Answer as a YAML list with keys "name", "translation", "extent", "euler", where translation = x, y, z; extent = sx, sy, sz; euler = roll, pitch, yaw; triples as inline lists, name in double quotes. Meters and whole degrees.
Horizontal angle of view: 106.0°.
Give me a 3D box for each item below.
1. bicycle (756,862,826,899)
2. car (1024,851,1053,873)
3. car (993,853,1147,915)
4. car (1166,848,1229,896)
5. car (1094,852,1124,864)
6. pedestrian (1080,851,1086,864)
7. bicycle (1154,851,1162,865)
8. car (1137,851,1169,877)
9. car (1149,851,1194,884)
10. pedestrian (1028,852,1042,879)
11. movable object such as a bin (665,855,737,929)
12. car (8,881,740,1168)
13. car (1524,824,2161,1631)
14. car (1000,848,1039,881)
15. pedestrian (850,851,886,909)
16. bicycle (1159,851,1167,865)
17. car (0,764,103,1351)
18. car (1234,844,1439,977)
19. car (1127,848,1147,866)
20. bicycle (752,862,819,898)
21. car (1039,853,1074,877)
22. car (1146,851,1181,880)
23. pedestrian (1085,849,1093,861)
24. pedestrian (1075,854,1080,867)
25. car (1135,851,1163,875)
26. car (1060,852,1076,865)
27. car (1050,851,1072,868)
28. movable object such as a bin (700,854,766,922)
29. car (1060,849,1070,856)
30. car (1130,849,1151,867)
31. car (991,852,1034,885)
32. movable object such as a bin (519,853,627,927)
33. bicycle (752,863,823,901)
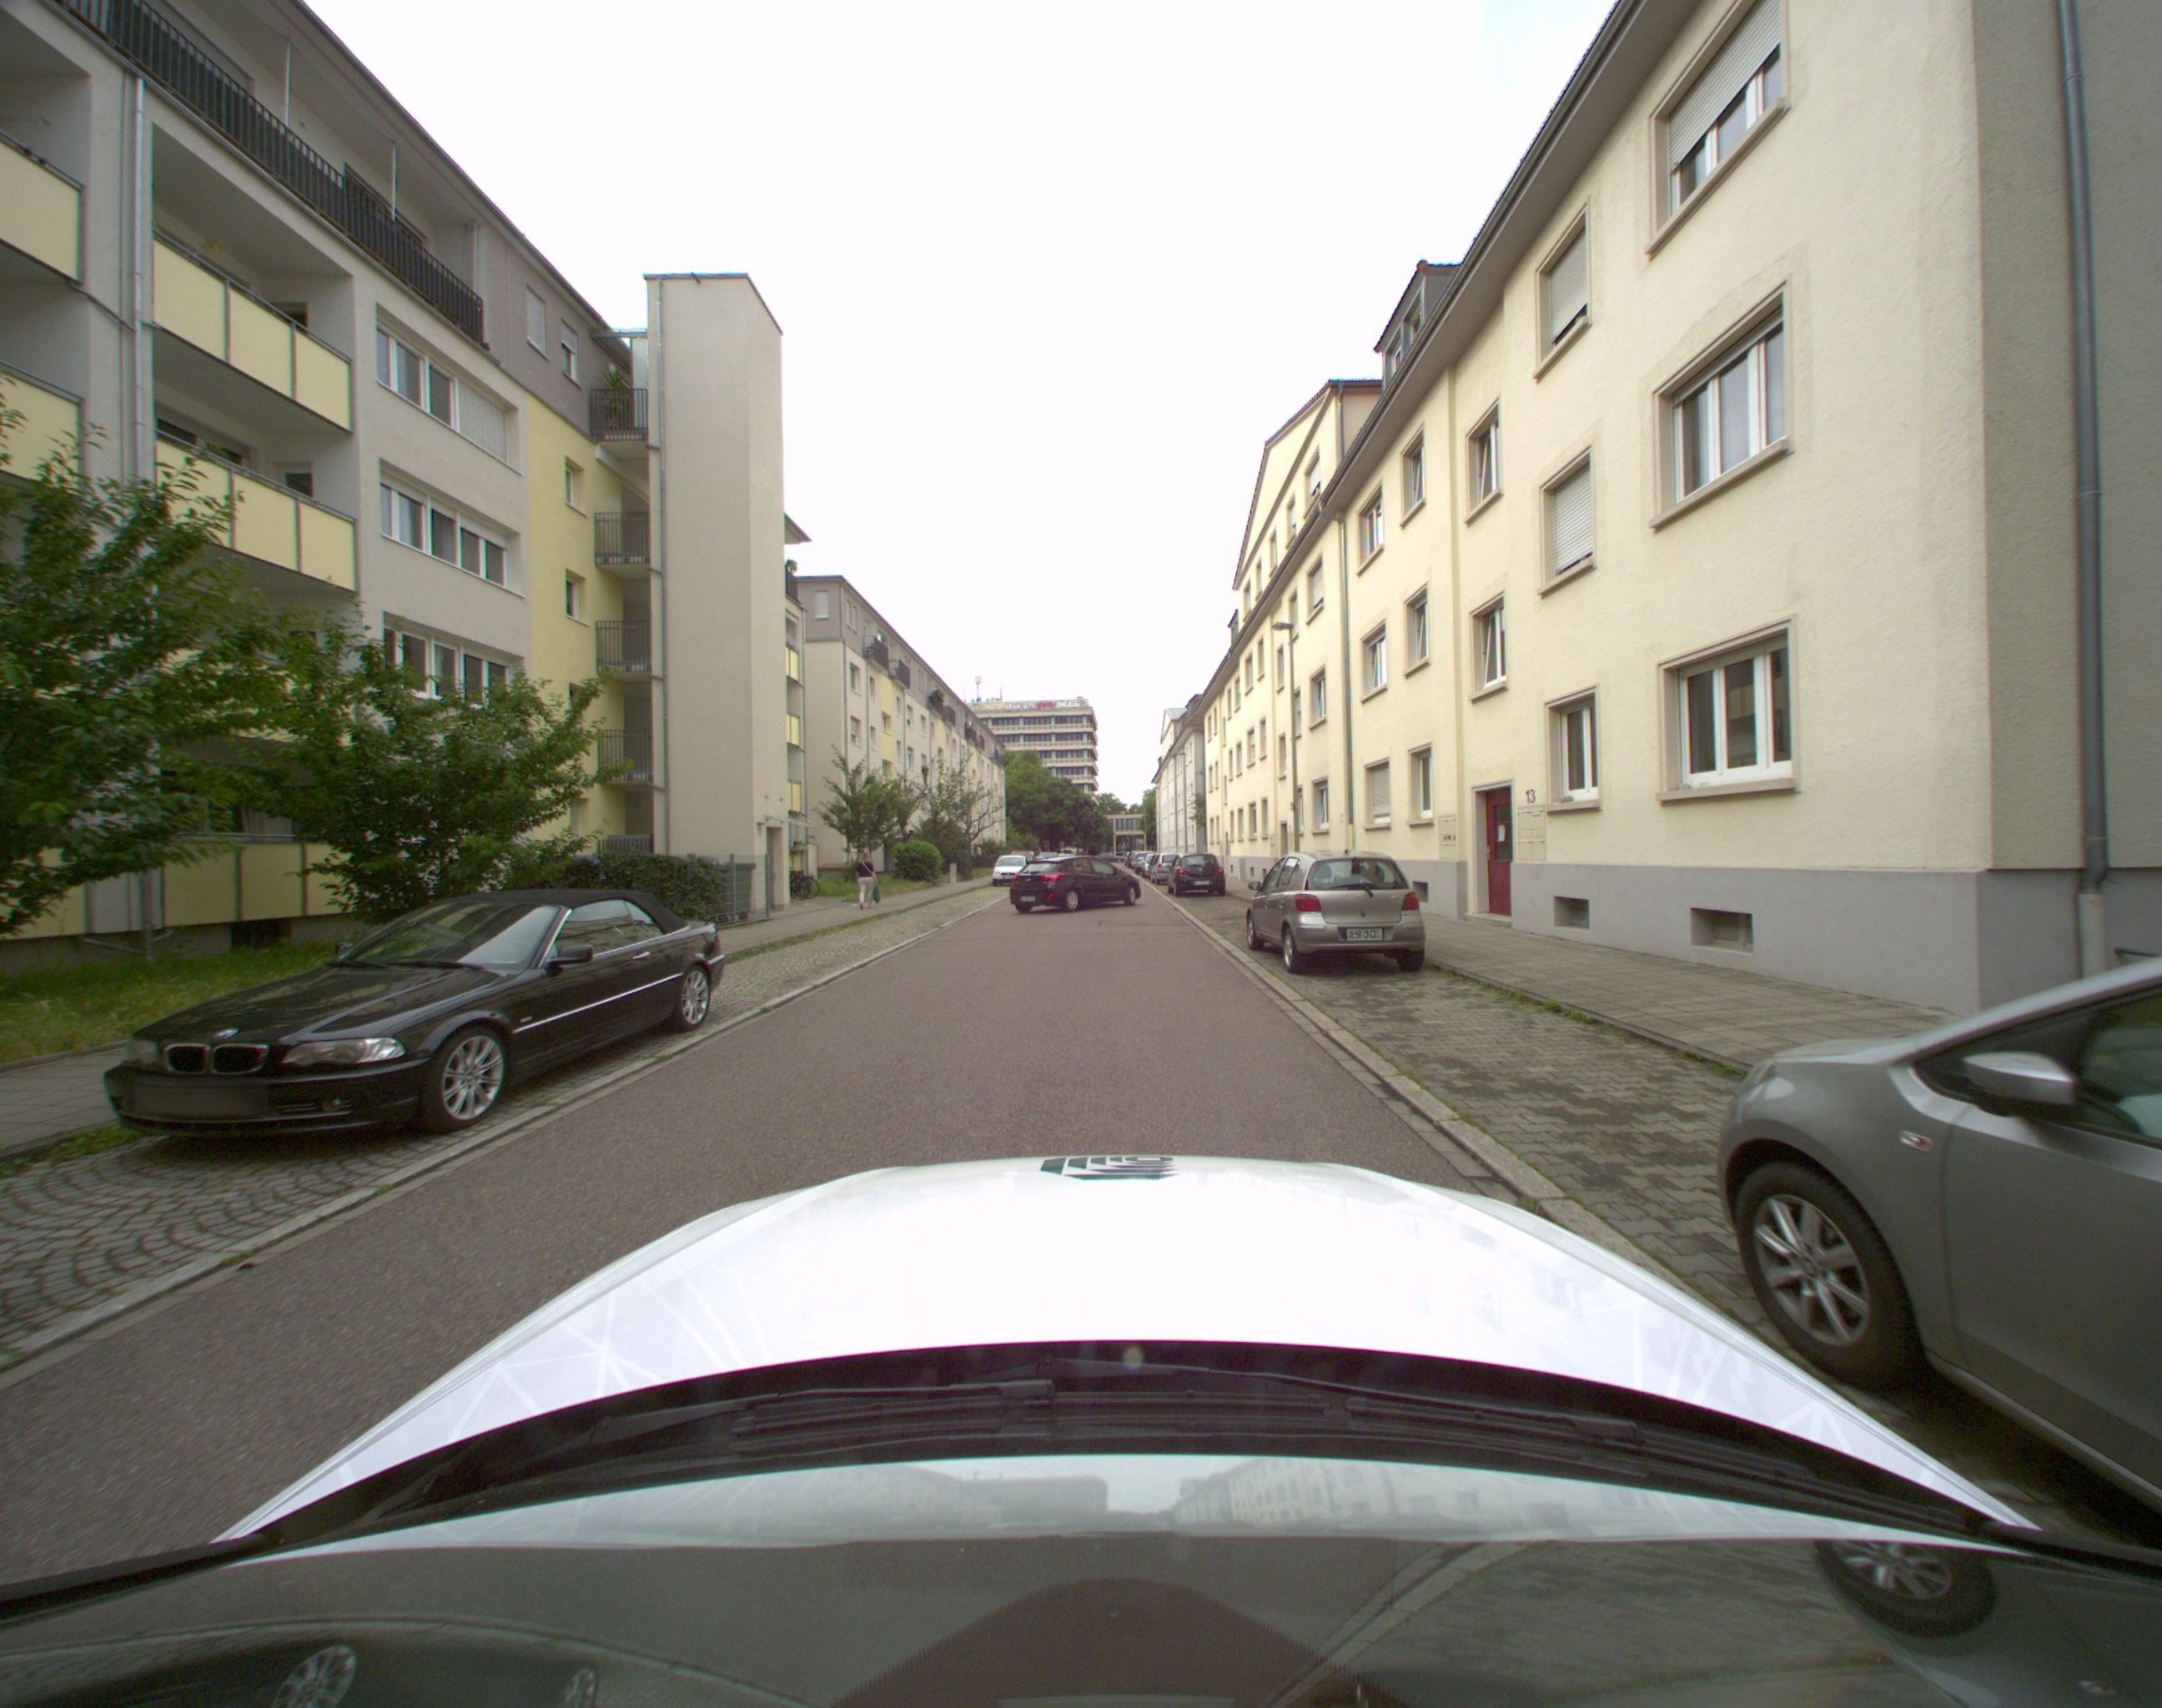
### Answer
- name: "bicycle"
  translation: [-9.463, 0.868, 26.625]
  extent: [2.021, 1.141, 0.621]
  euler: [-1, 0, -9]
- name: "car"
  translation: [-3.036, 0.543, 58.587]
  extent: [1.738, 1.464, 3.787]
  euler: [-2, 0, 2]
- name: "car"
  translation: [-0.203, 0.740, 22.049]
  extent: [1.885, 1.433, 4.260]
  euler: [-2, 0, 38]
- name: "car"
  translation: [3.979, 0.570, 28.428]
  extent: [1.719, 1.517, 4.062]
  euler: [-1, 0, 1]
- name: "car"
  translation: [3.871, 0.580, 113.369]
  extent: [4.130, 1.497, 1.810]
  euler: [-2, 0, 0]
- name: "pedestrian"
  translation: [0.283, 0.495, 118.792]
  extent: [0.710, 1.831, 0.798]
  euler: [-1, 0, 4]
- name: "bicycle"
  translation: [6.866, 0.360, 72.496]
  extent: [0.527, 1.175, 2.041]
  euler: [-2, 0, 8]
- name: "car"
  translation: [4.289, 0.558, 49.030]
  extent: [1.718, 1.476, 4.507]
  euler: [-1, 0, 2]
- name: "car"
  translation: [4.256, 0.600, 38.749]
  extent: [1.842, 1.450, 3.834]
  euler: [-1, 0, 2]
- name: "pedestrian"
  translation: [-2.941, 0.724, 52.073]
  extent: [0.742, 1.701, 0.792]
  euler: [-2, 0, -16]
- name: "movable object such as a bin"
  translation: [-7.703, 0.747, 16.566]
  extent: [0.800, 1.429, 1.289]
  euler: [0, 0, 4]
- name: "car"
  translation: [-4.549, 0.949, 6.370]
  extent: [1.864, 1.323, 4.362]
  euler: [0, 0, 1]
- name: "car"
  translation: [2.849, 0.674, 1.693]
  extent: [1.719, 1.492, 4.062]
  euler: [-1, 0, 1]
- name: "car"
  translation: [-3.474, 0.562, 46.929]
  extent: [1.950, 1.770, 4.360]
  euler: [0, 0, 0]
- name: "pedestrian"
  translation: [-6.076, 0.729, 23.253]
  extent: [0.797, 1.610, 0.946]
  euler: [-1, 0, -3]
- name: "bicycle"
  translation: [7.297, 0.357, 72.450]
  extent: [0.573, 1.175, 2.041]
  euler: [-2, 0, 8]
- name: "car"
  translation: [-4.653, 0.674, 0.495]
  extent: [2.145, 1.954, 4.920]
  euler: [1, 0, 0]
- name: "car"
  translation: [3.370, 0.657, 11.568]
  extent: [1.719, 1.517, 4.062]
  euler: [-2, 0, 1]
- name: "car"
  translation: [5.444, 0.275, 78.989]
  extent: [1.813, 1.603, 4.094]
  euler: [-2, 0, 3]
- name: "bicycle"
  translation: [-9.959, 0.878, 27.509]
  extent: [2.017, 1.141, 0.623]
  euler: [-1, 0, -2]
- name: "car"
  translation: [-1.548, 0.694, 52.141]
  extent: [1.837, 1.451, 4.505]
  euler: [-1, 0, 3]
- name: "car"
  translation: [4.401, 0.581, 43.883]
  extent: [1.596, 1.476, 3.871]
  euler: [0, 0, 2]
- name: "pedestrian"
  translation: [1.163, 0.179, 118.493]
  extent: [0.968, 1.654, 0.981]
  euler: [-2, 0, 3]
- name: "pedestrian"
  translation: [-0.516, 0.972, 118.410]
  extent: [0.602, 1.831, 0.676]
  euler: [-1, 0, 3]
- name: "car"
  translation: [4.803, 0.628, 57.981]
  extent: [1.813, 1.642, 4.094]
  euler: [-1, 0, 3]
- name: "car"
  translation: [-1.605, 0.525, 102.398]
  extent: [1.987, 1.541, 3.999]
  euler: [0, 0, -1]
- name: "car"
  translation: [-2.006, 0.506, 81.766]
  extent: [1.888, 1.599, 4.523]
  euler: [1, 0, 2]
- name: "movable object such as a bin"
  translation: [-7.617, 0.718, 17.887]
  extent: [0.799, 1.429, 1.290]
  euler: [0, 0, 5]
- name: "car"
  translation: [-3.132, -0.299, 160.692]
  extent: [1.659, 1.333, 3.397]
  euler: [-1, 1, 2]
- name: "car"
  translation: [5.384, 0.343, 74.252]
  extent: [1.813, 1.503, 4.094]
  euler: [-2, 0, 3]
- name: "car"
  translation: [-3.388, 0.682, 41.030]
  extent: [1.714, 1.570, 3.872]
  euler: [1, 0, 2]
- name: "movable object such as a bin"
  translation: [-10.403, 0.707, 16.756]
  extent: [1.347, 1.464, 1.372]
  euler: [0, 0, 0]
- name: "bicycle"
  translation: [-9.360, 0.879, 26.000]
  extent: [2.021, 1.141, 0.621]
  euler: [-1, 0, -8]
